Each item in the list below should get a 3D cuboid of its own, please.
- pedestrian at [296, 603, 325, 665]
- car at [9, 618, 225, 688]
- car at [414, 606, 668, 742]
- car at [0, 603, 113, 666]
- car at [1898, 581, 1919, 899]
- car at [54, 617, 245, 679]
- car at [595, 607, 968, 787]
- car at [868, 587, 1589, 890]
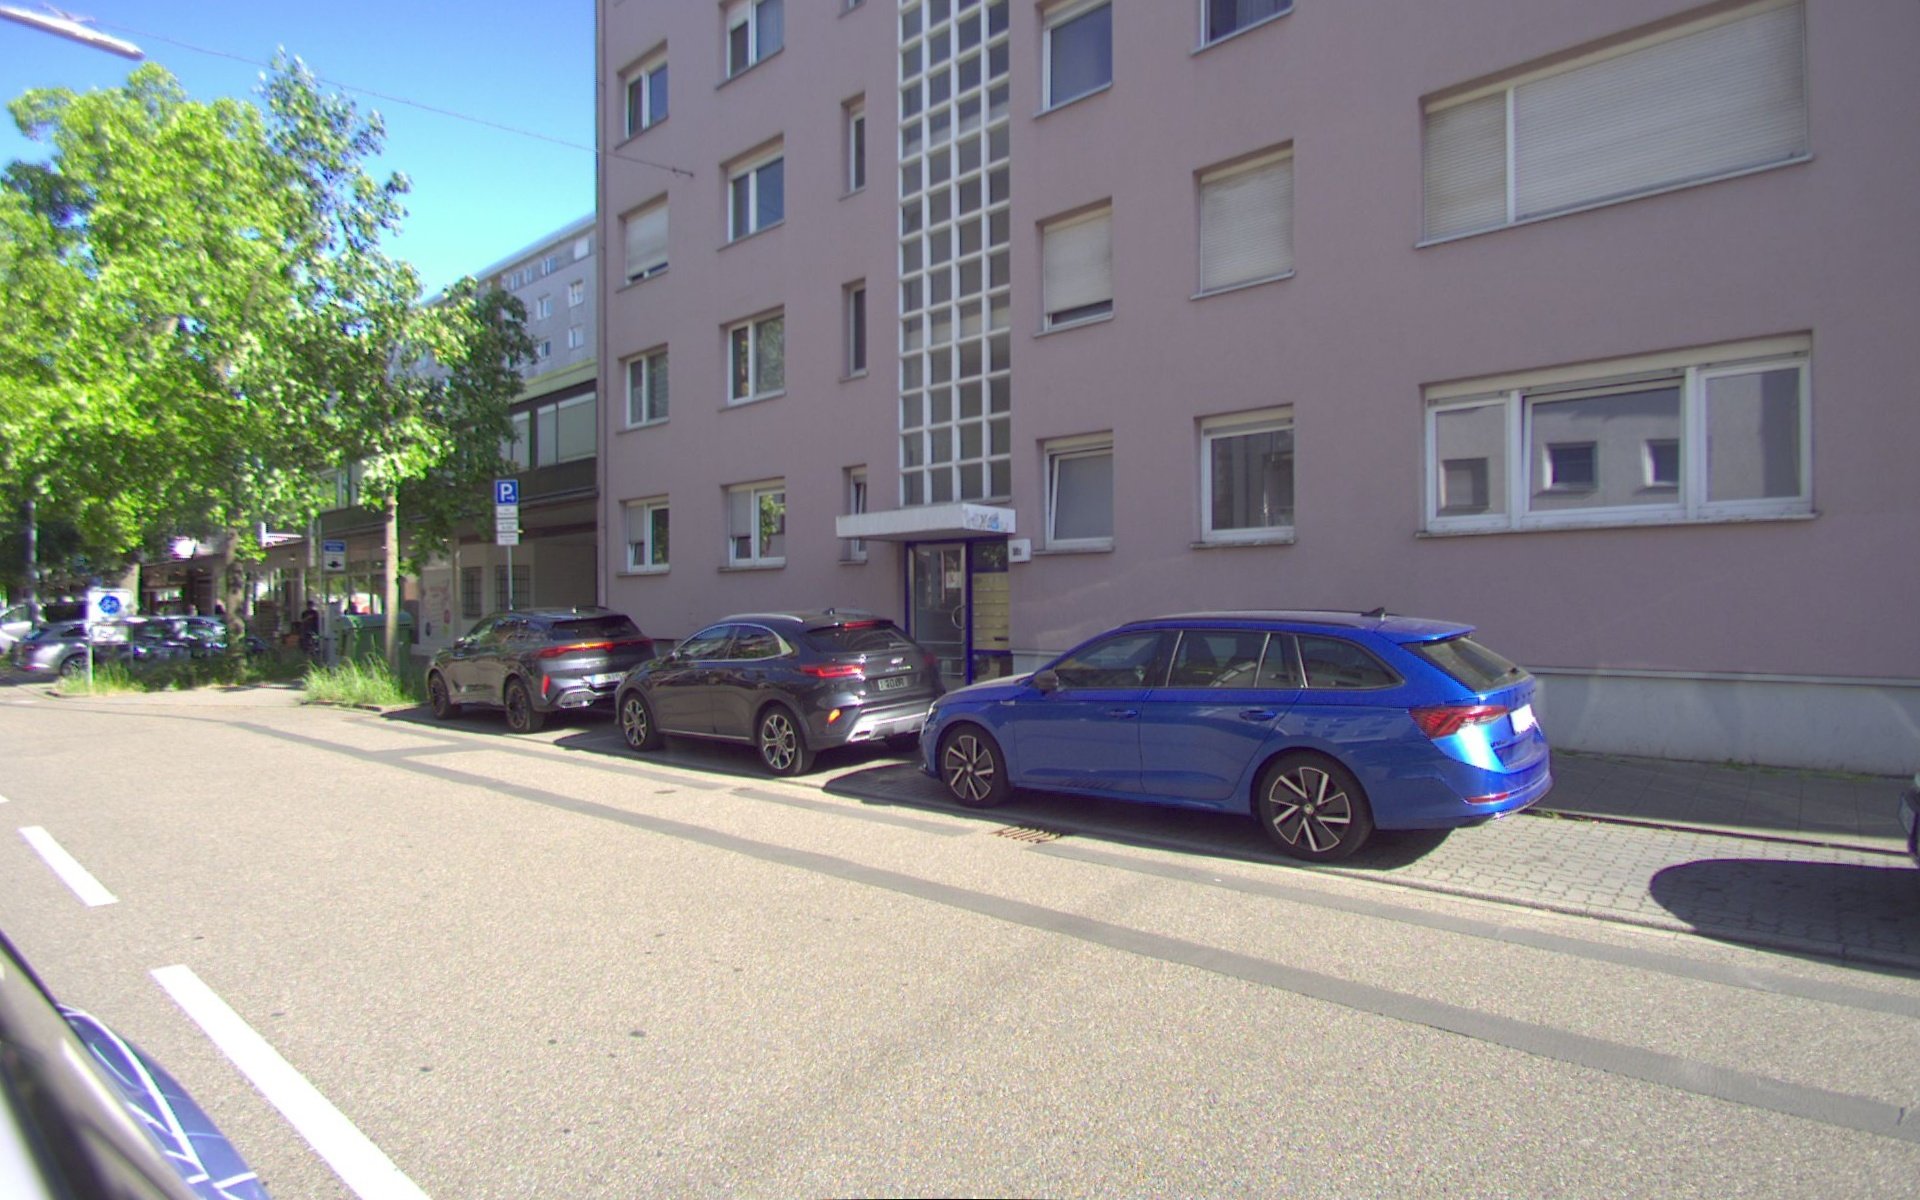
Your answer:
[{"bbox_3d":[-19.149,0.994,29.854,0.502,1.820,0.615,-2,-1,42],"label":"pedestrian"},{"bbox_3d":[-20.881,1.249,25.162,1.913,1.564,3.943,-1,-1,43],"label":"car"},{"bbox_3d":[-6.022,0.937,14.315,4.157,1.588,1.704,-1,1,43],"label":"car"},{"bbox_3d":[-31.549,1.152,34.586,1.913,2.058,3.824,-1,-1,43],"label":"car"},{"bbox_3d":[6.379,0.642,3.256,4.797,1.514,1.805,-1,1,40],"label":"car"},{"bbox_3d":[-22.573,1.275,28.279,1.913,1.564,3.943,-1,-1,43],"label":"car"},{"bbox_3d":[-2.038,0.873,10.747,4.157,1.478,1.704,-1,1,43],"label":"car"},{"bbox_3d":[1.675,0.748,7.443,4.797,1.514,1.805,-1,1,40],"label":"car"}]
